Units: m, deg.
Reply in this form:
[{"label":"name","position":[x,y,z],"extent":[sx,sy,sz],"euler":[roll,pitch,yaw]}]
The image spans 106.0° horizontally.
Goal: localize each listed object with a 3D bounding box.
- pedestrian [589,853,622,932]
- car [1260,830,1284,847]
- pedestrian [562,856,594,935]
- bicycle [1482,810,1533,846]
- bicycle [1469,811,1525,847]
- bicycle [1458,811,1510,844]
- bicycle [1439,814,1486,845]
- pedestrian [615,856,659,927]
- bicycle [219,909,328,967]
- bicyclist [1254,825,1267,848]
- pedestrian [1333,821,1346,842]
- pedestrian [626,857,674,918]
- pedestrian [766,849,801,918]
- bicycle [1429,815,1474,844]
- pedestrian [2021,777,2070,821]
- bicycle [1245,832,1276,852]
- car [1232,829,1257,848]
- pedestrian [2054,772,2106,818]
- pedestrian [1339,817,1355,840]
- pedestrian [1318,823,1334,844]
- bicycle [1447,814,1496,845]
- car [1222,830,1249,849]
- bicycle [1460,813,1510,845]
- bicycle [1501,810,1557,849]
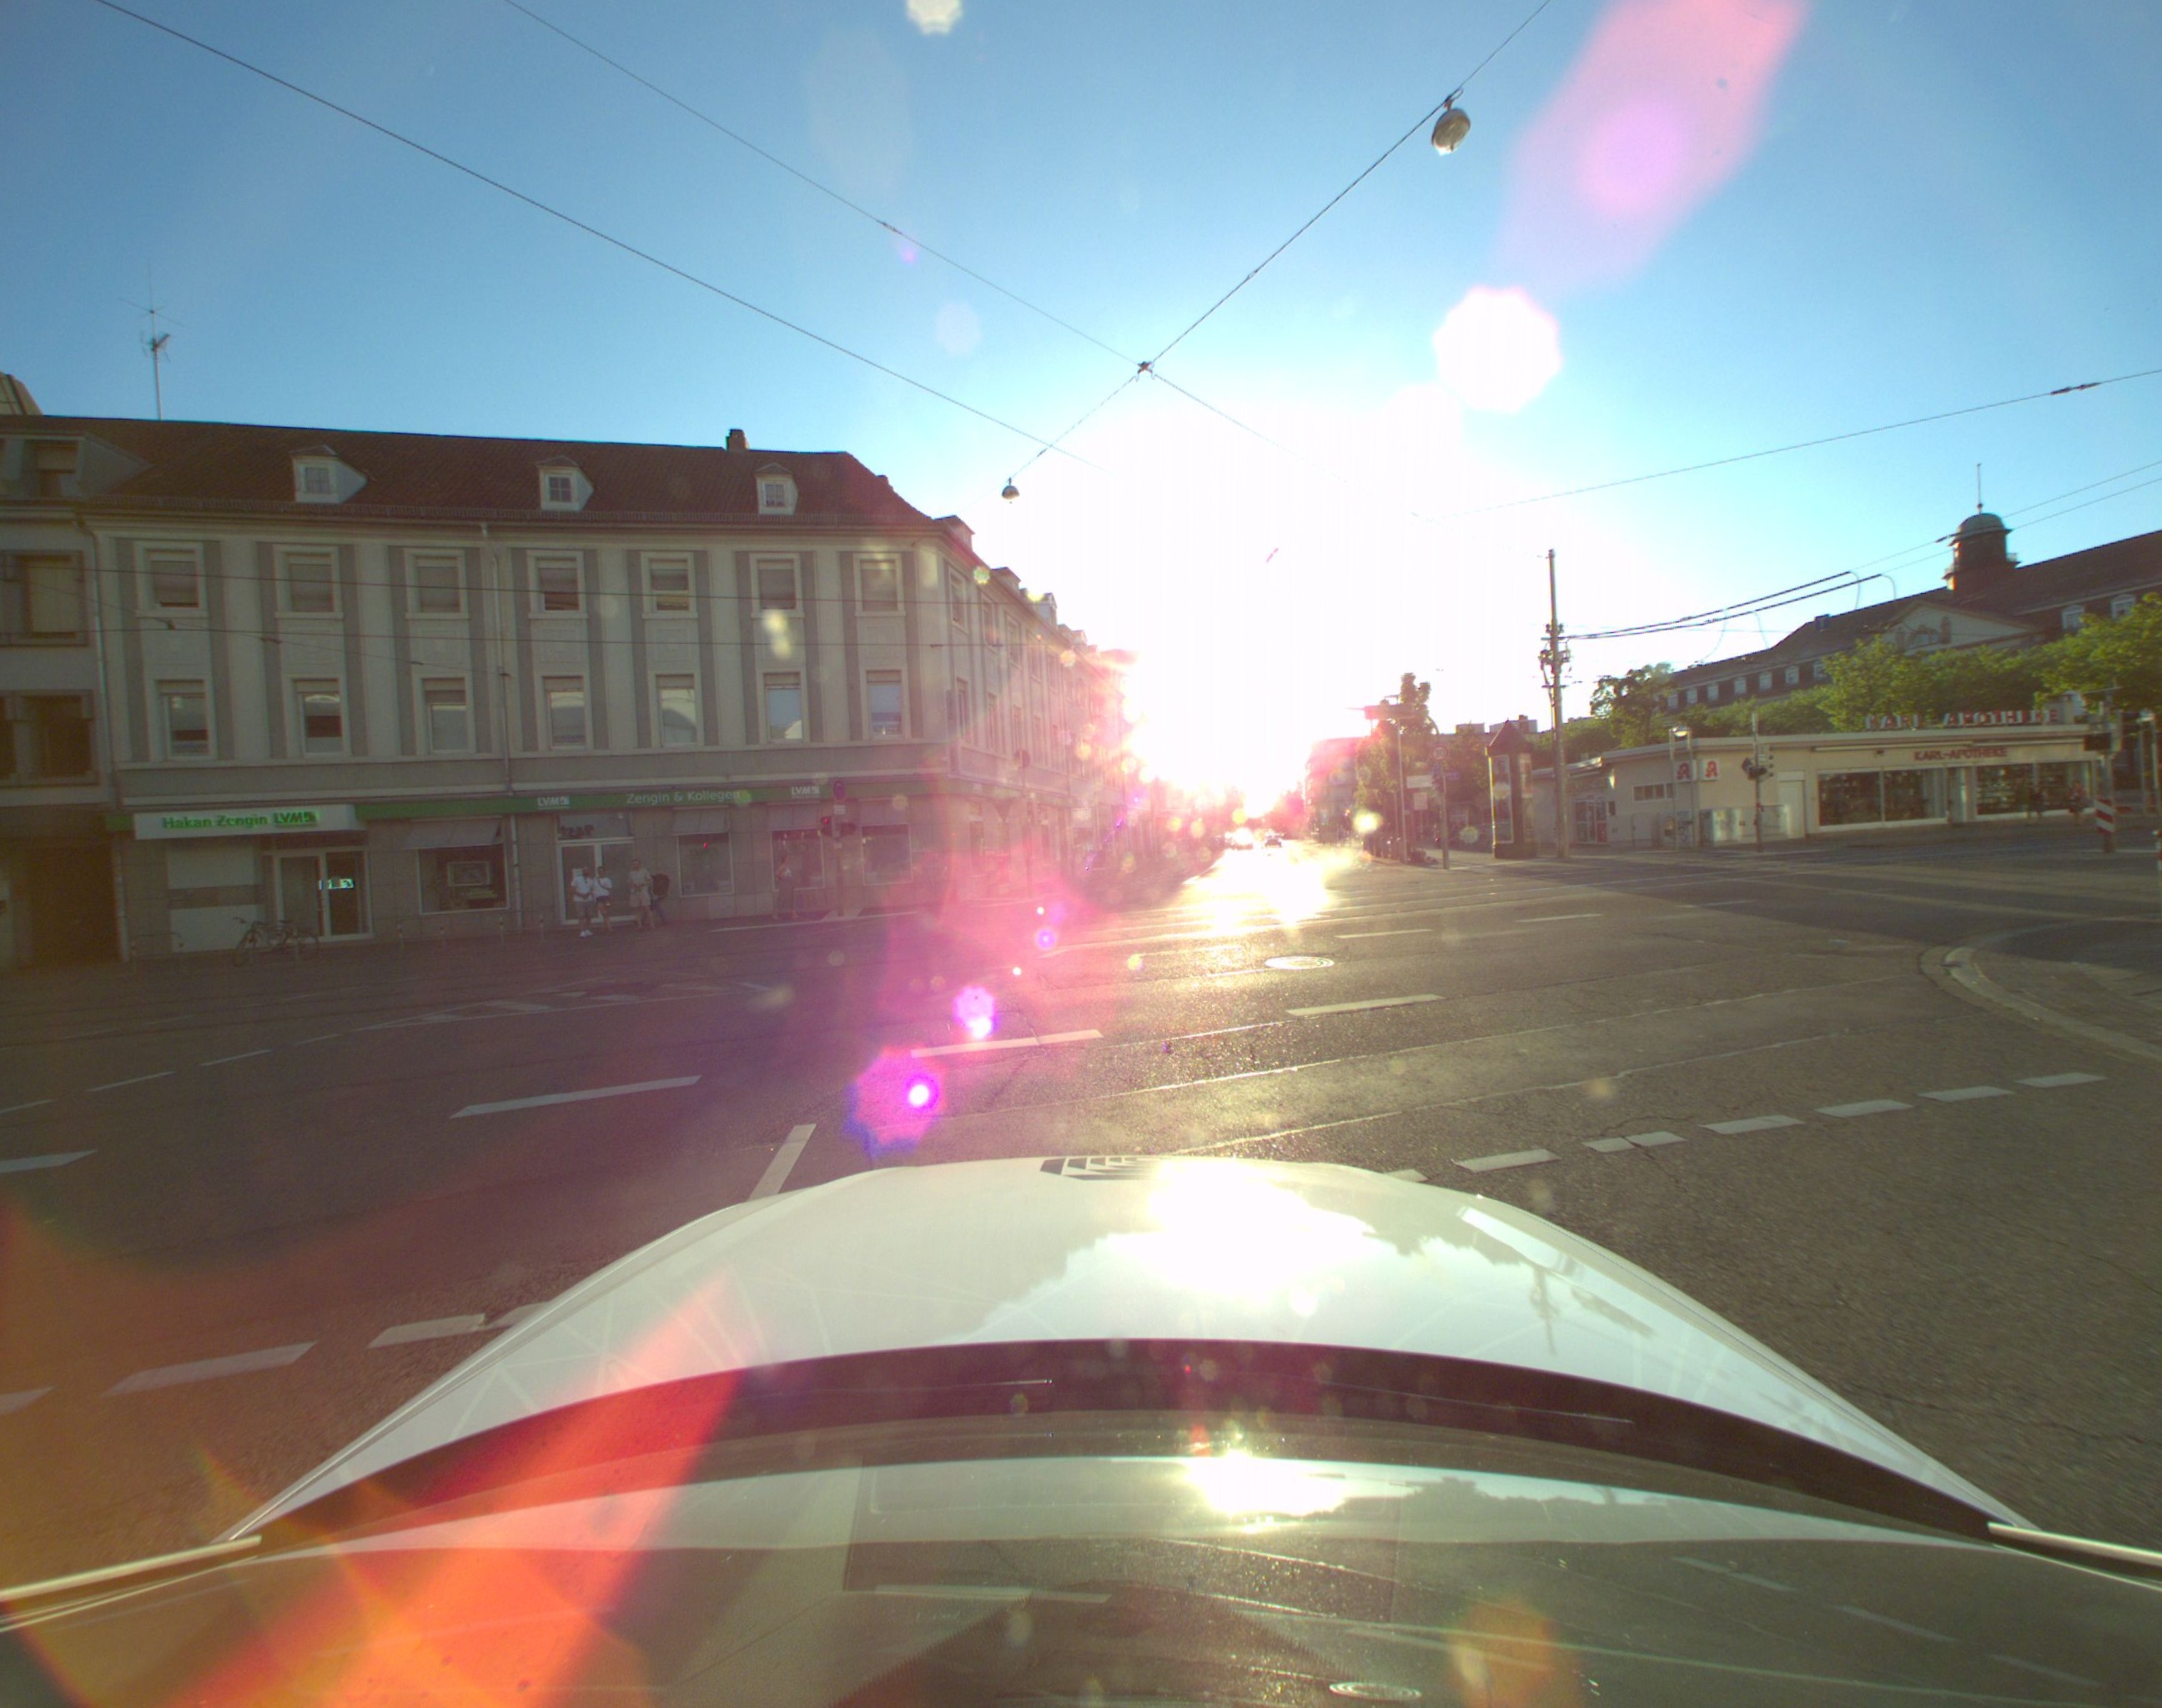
[{"label":"pedestrian","position":[-12.145,0.969,20.815],"extent":[0.530,1.928,0.635],"euler":[-4,1,-23]},{"label":"car","position":[20.619,-1.711,88.037],"extent":[2.288,1.678,5.552],"euler":[-3,1,13]},{"label":"pedestrian","position":[-12.650,1.027,20.491],"extent":[0.497,1.928,0.571],"euler":[-4,1,-22]},{"label":"bicycle","position":[19.824,-1.192,37.866],"extent":[1.971,1.522,0.481],"euler":[-3,1,13]},{"label":"bicycle","position":[19.852,-1.188,38.931],"extent":[2.206,1.522,0.683],"euler":[-3,1,13]},{"label":"bicycle","position":[20.518,-1.322,41.497],"extent":[2.206,1.522,0.683],"euler":[-3,1,13]},{"label":"bicycle","position":[21.152,-1.355,45.225],"extent":[2.206,1.522,0.683],"euler":[-3,1,13]},{"label":"pedestrian","position":[-11.445,0.957,21.011],"extent":[0.697,1.745,0.638],"euler":[-4,1,-9]},{"label":"bicycle","position":[-18.182,1.883,18.367],"extent":[1.645,1.089,0.477],"euler":[-4,2,-15]},{"label":"bicyclist","position":[13.745,-1.305,62.434],"extent":[0.661,1.707,0.685],"euler":[-3,1,41]},{"label":"pedestrian","position":[22.320,-1.932,70.252],"extent":[0.796,1.786,1.000],"euler":[-5,-1,27]},{"label":"pedestrian","position":[-11.590,0.890,21.928],"extent":[0.867,1.548,0.697],"euler":[-4,1,-9]},{"label":"pedestrian","position":[-7.909,0.771,21.645],"extent":[0.645,1.778,0.670],"euler":[-4,1,-9]},{"label":"bicycle","position":[21.358,-1.419,46.988],"extent":[2.205,1.522,0.684],"euler":[-3,1,17]},{"label":"pedestrian","position":[38.113,-2.158,32.192],"extent":[0.991,1.612,0.803],"euler":[-4,-1,-12]},{"label":"bicycle","position":[13.730,-0.933,62.448],"extent":[2.201,1.402,0.685],"euler":[-3,1,41]},{"label":"car","position":[17.432,-1.689,86.666],"extent":[2.288,1.767,5.552],"euler":[-3,1,13]},{"label":"pedestrian","position":[38.310,-2.257,31.236],"extent":[0.991,1.612,0.803],"euler":[-4,-1,-12]},{"label":"pedestrian","position":[23.306,-2.207,71.254],"extent":[0.981,1.956,0.812],"euler":[-4,0,39]},{"label":"pedestrian","position":[21.309,-1.787,70.902],"extent":[0.808,1.783,0.985],"euler":[-4,0,-26]},{"label":"bicycle","position":[20.994,-1.306,43.839],"extent":[2.206,1.522,0.683],"euler":[-3,1,13]},{"label":"car","position":[15.100,-1.433,79.379],"extent":[2.288,1.678,5.552],"euler":[-3,1,13]},{"label":"bicycle","position":[21.172,-1.286,42.689],"extent":[2.206,1.522,0.683],"euler":[-3,1,13]},{"label":"bicycle","position":[18.979,-1.050,34.508],"extent":[1.972,1.522,0.481],"euler":[-3,1,12]}]
